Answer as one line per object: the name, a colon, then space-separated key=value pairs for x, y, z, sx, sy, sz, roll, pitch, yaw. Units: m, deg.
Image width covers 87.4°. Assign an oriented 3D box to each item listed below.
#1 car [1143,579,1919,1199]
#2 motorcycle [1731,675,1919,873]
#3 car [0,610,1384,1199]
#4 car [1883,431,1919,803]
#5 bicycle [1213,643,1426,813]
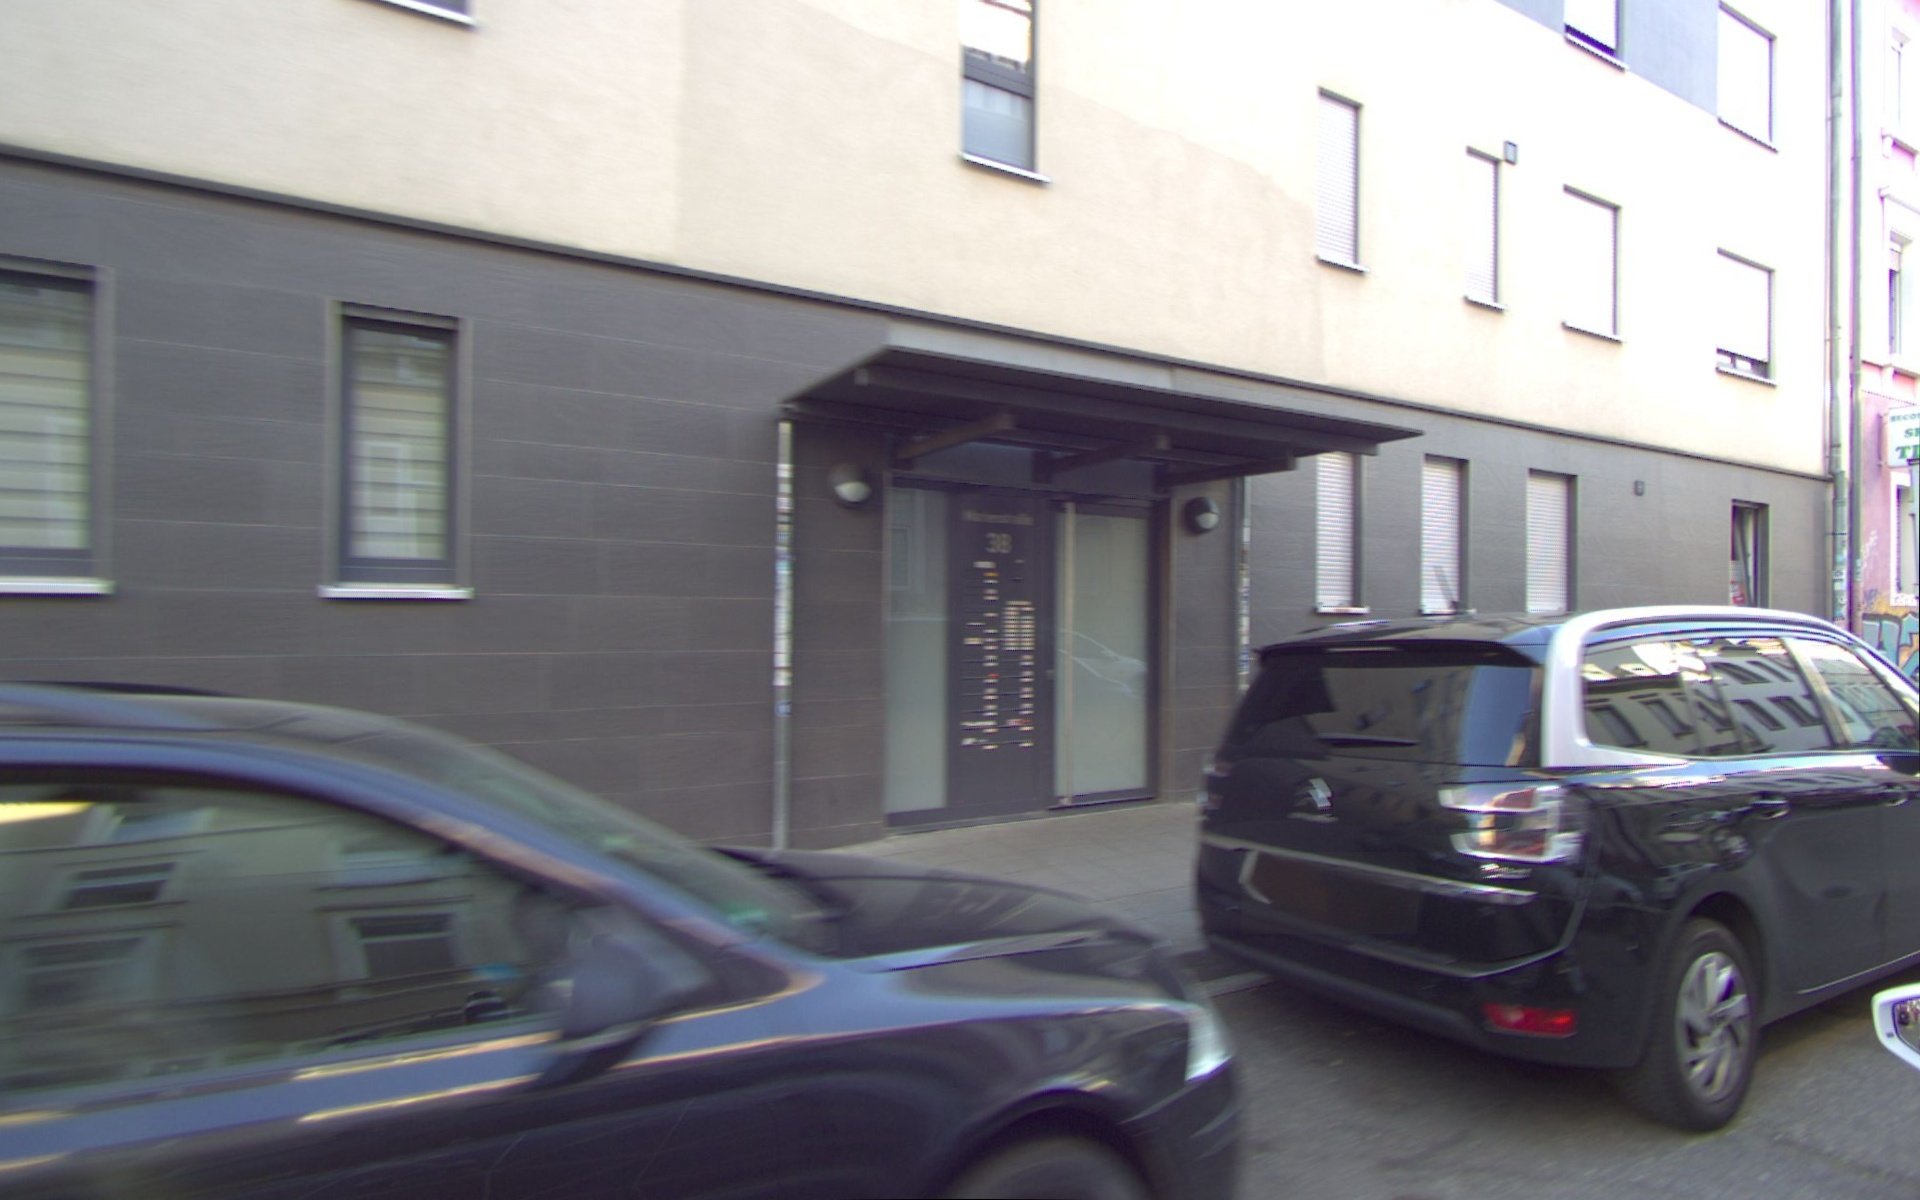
car: x=3.001 y=0.836 z=4.435 sx=4.196 sy=1.672 sz=1.709 roll=0 pitch=-3 yaw=-31
motorcycle: x=6.721 y=1.165 z=6.915 sx=2.064 sy=1.269 sz=0.793 roll=-1 pitch=-3 yaw=12
car: x=-1.453 y=0.815 z=1.733 sx=4.446 sy=1.498 sz=1.709 roll=0 pitch=-3 yaw=-31
car: x=12.139 y=0.190 z=9.908 sx=7.068 sy=3.334 sz=2.334 roll=2 pitch=-3 yaw=-30
bicycle: x=2.779 y=0.929 z=7.704 sx=1.751 sy=1.180 sz=0.488 roll=1 pitch=-3 yaw=-29
